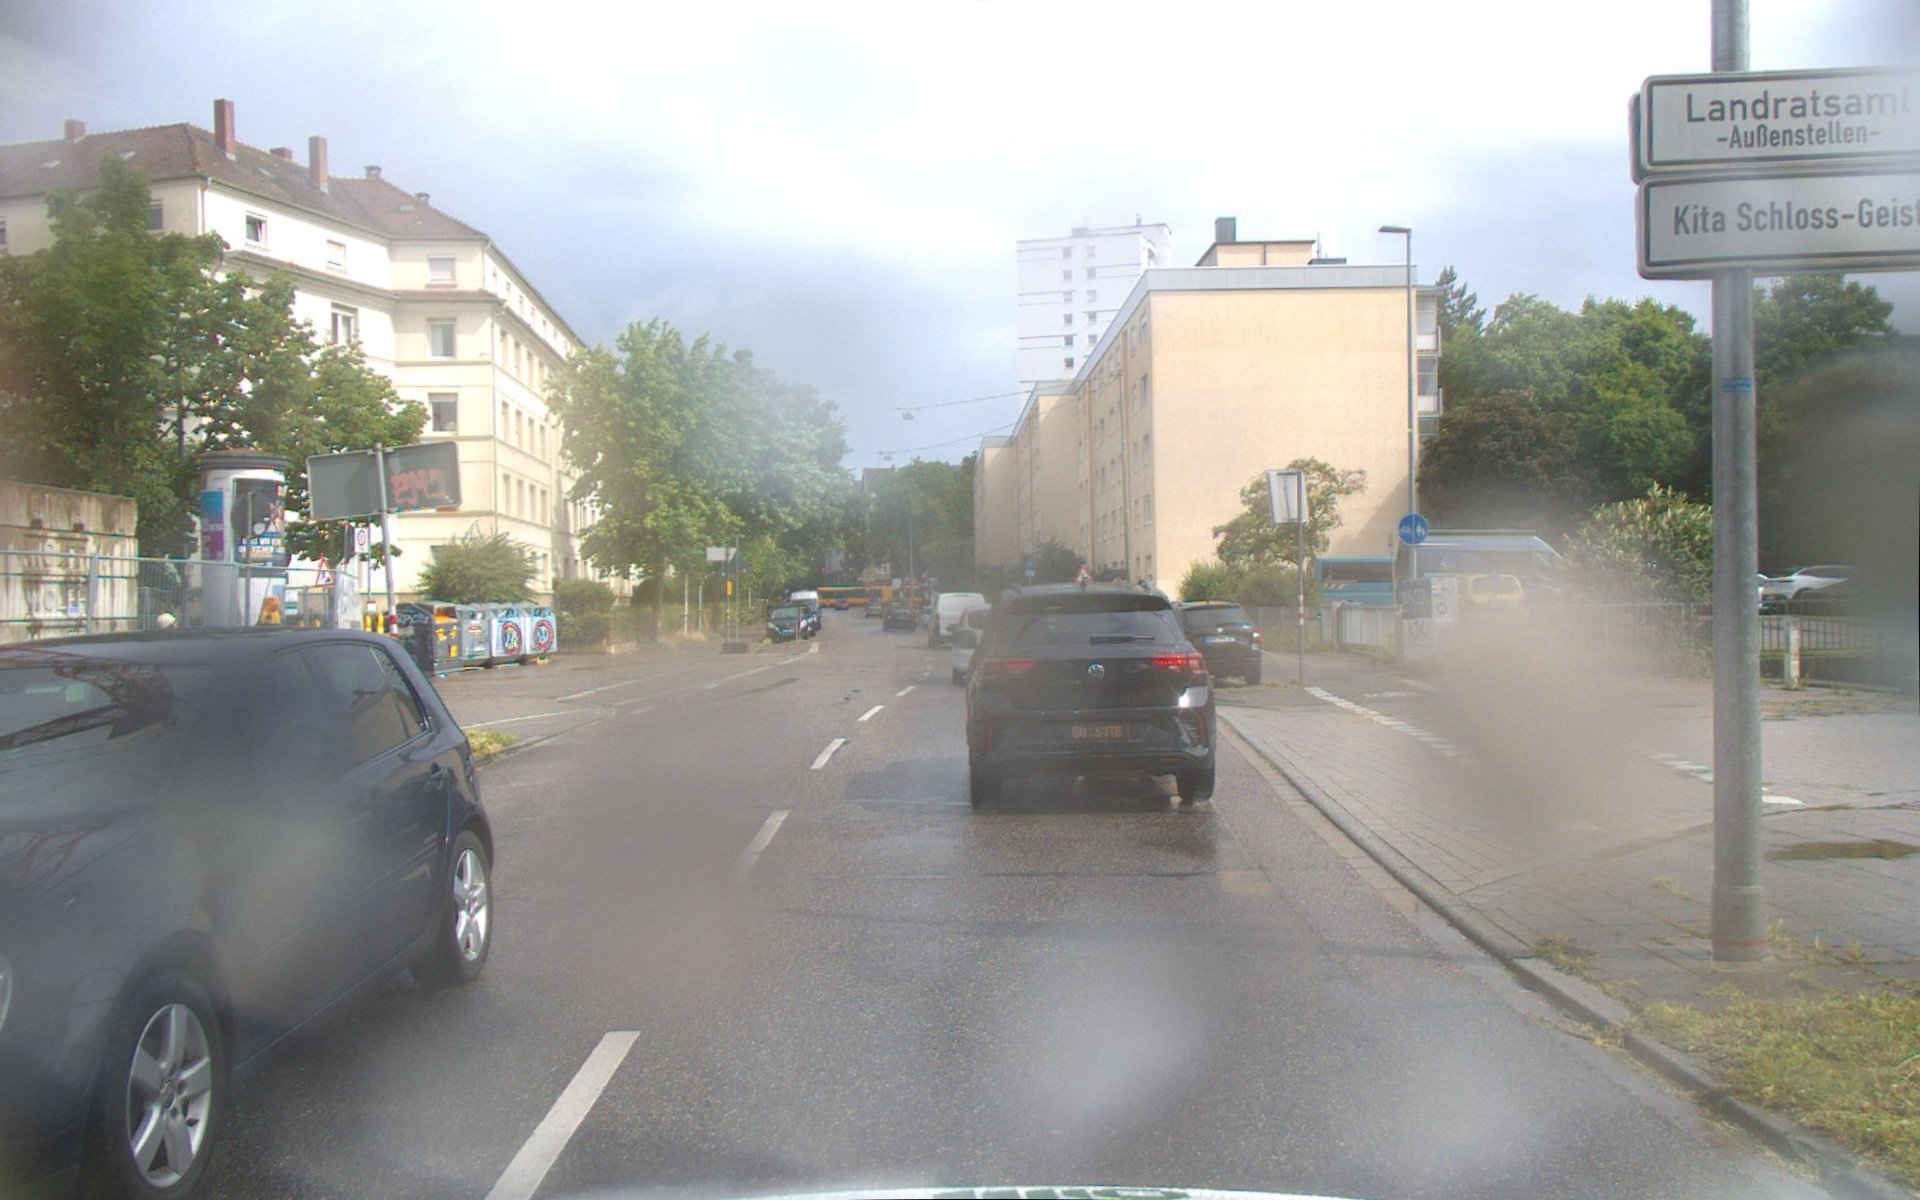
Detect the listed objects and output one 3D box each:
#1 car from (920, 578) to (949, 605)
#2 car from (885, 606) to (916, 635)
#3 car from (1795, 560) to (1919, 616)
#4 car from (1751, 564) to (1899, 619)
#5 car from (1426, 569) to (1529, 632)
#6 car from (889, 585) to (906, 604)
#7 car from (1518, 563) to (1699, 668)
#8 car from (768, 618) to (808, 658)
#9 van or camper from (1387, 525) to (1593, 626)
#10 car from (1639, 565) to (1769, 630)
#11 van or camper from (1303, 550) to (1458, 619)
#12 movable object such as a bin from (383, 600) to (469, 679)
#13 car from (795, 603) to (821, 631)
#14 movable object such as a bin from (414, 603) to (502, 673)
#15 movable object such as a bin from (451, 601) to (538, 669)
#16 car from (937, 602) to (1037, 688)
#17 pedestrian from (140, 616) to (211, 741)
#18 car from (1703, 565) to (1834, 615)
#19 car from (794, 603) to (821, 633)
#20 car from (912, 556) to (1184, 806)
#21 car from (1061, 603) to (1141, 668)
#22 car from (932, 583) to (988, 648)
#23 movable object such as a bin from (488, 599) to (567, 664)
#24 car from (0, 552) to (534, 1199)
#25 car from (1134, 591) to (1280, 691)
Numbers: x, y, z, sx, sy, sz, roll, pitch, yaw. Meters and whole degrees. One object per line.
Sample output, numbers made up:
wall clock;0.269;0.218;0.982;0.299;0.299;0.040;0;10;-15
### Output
car;-1.676;-0.530;108.992;1.803;1.636;3.675;-3;0;0
car;-3.399;1.144;93.836;1.573;1.536;3.544;-2;0;-5
car;26.571;-0.369;47.914;3.892;1.491;1.672;-2;0;0
car;26.292;-0.251;50.339;3.590;1.512;1.640;-2;0;2
car;12.995;0.008;41.669;1.577;1.474;3.417;-2;0;2
car;-6.493;-0.578;171.848;1.632;1.870;3.997;-2;0;-3
car;12.060;0.272;31.066;1.766;1.780;4.238;-2;0;1
car;-7.225;1.566;69.627;1.555;1.532;4.060;-2;0;-5
van or camper;14.463;-0.639;45.334;4.896;2.599;2.175;-1;-1;0
car;18.524;-0.060;41.340;1.615;1.512;3.719;-2;0;2
van or camper;14.072;-0.517;55.613;4.660;2.169;2.322;-1;0;2
movable object such as a bin;-13.144;0.956;40.726;1.505;1.856;1.264;-2;0;18
car;-9.701;1.058;105.588;1.555;1.668;3.916;-2;0;-5
movable object such as a bin;-12.821;0.953;42.274;1.505;1.685;1.528;-2;0;18
movable object such as a bin;-12.320;0.921;43.846;1.505;1.703;1.667;-2;0;18
car;0.454;0.839;31.708;1.776;1.529;3.999;1;-1;-1
pedestrian;-10.640;1.049;22.429;0.716;1.658;0.675;2;-2;-38
car;27.182;-0.337;55.684;3.590;1.512;1.640;-2;0;2
car;-9.183;1.062;99.706;1.555;1.668;3.916;-2;0;-5
car;0.563;0.579;13.236;1.835;1.674;4.060;1;-1;-1
car;3.511;0.896;41.688;1.720;1.554;4.000;0;-1;1
car;-0.036;0.554;57.034;1.799;2.140;3.998;1;-1;-2
movable object such as a bin;-11.847;0.867;45.373;1.505;1.691;1.459;-2;0;18
car;-2.825;0.768;5.308;1.803;1.636;4.000;-3;0;0
car;4.378;0.689;29.927;1.739;1.566;4.376;-4;0;-2
